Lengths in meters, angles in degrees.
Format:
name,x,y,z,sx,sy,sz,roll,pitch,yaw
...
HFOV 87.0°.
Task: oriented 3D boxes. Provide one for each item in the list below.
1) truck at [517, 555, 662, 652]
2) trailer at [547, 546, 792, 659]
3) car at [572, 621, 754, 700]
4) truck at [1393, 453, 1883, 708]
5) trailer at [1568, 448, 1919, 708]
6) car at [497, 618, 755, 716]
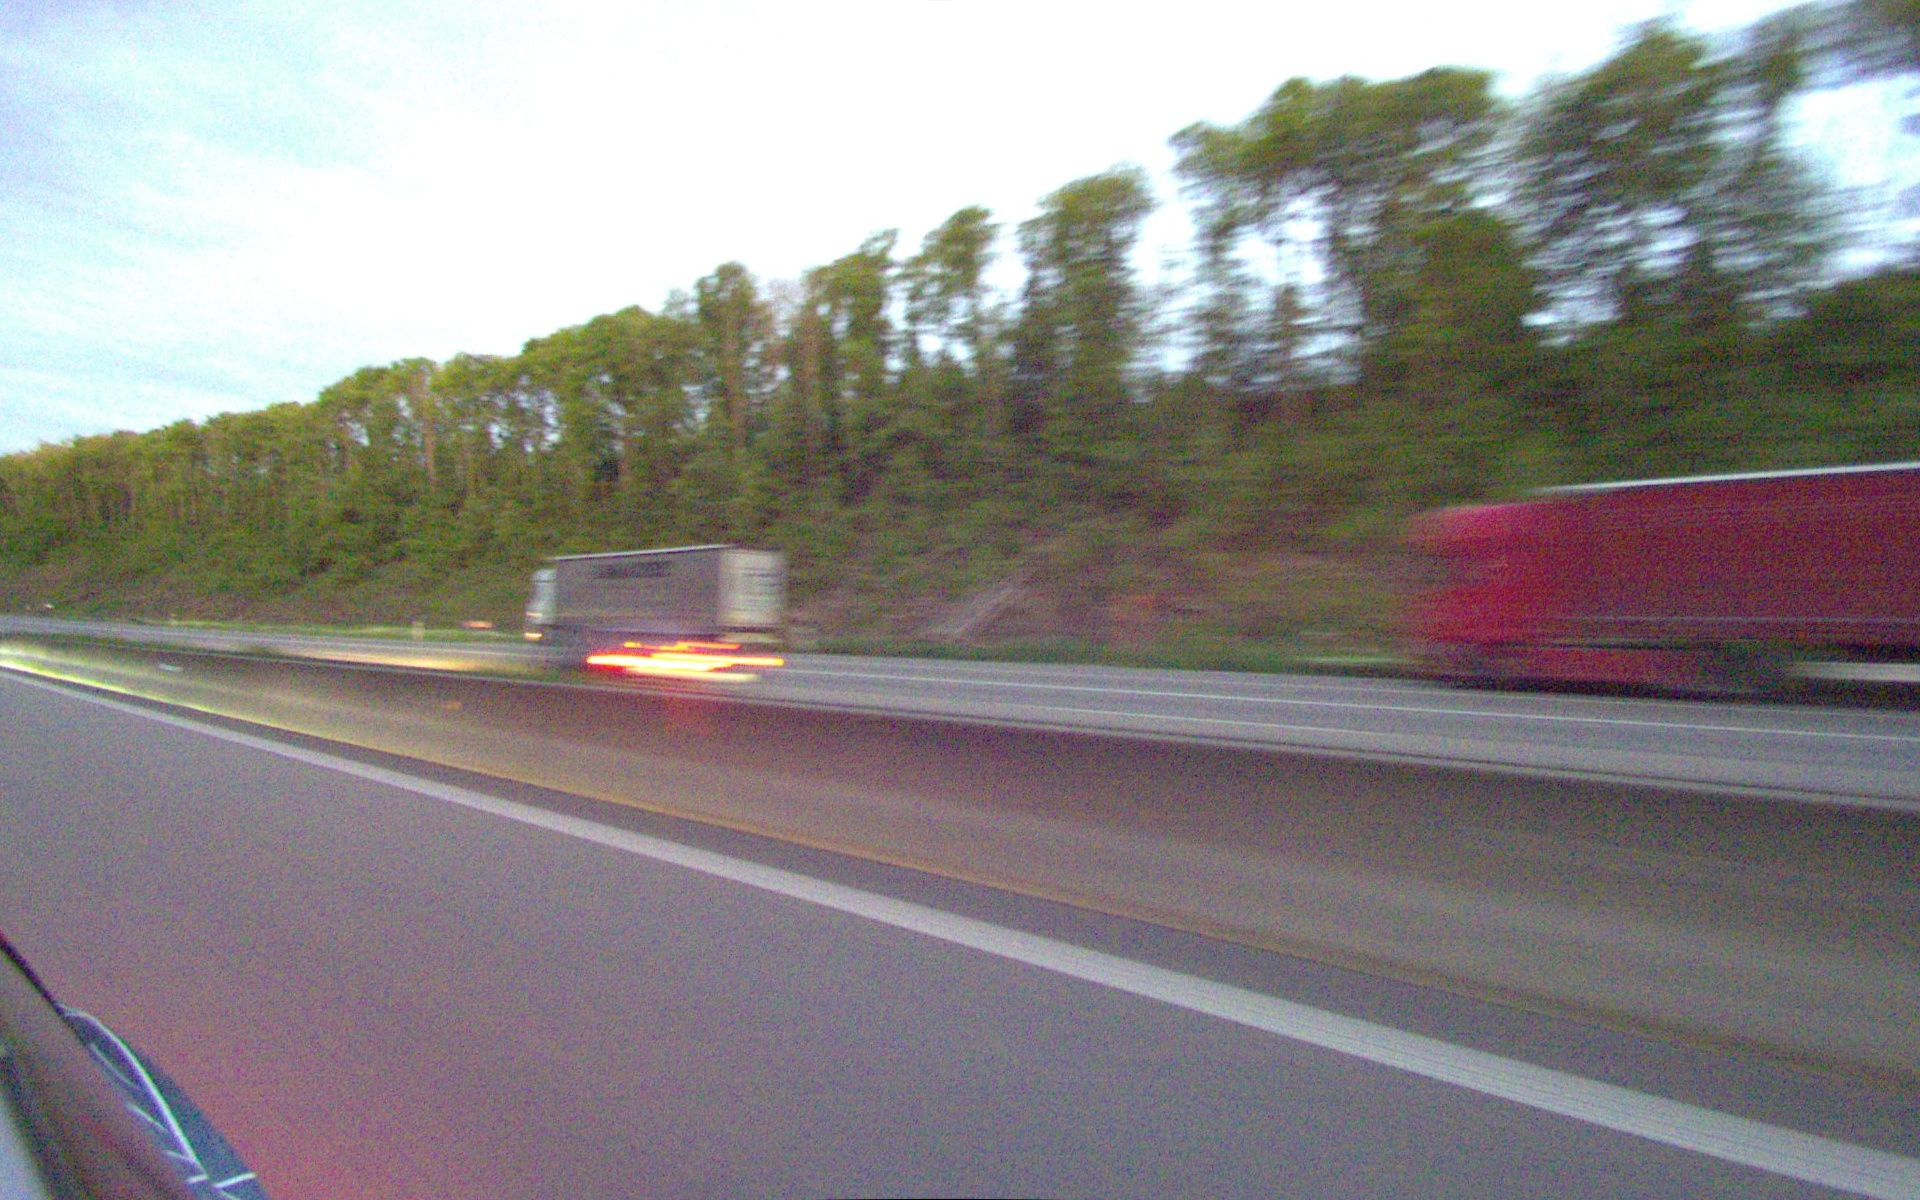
name,x,y,z,sx,sy,sz,roll,pitch,yaw
truck,-17.338,0.176,47.087,7.687,4.136,3.157,0,-1,42
trailer,-12.714,0.131,42.910,13.735,4.136,3.157,0,-1,42
car,-6.491,1.222,21.861,4.412,1.527,1.669,-1,-1,41
truck,13.127,-0.297,20.154,7.687,4.136,3.157,0,-1,42
trailer,17.947,-0.361,15.800,14.180,4.136,3.157,0,-1,42
car,-5.578,0.990,16.626,4.639,1.392,1.832,-1,-1,39
